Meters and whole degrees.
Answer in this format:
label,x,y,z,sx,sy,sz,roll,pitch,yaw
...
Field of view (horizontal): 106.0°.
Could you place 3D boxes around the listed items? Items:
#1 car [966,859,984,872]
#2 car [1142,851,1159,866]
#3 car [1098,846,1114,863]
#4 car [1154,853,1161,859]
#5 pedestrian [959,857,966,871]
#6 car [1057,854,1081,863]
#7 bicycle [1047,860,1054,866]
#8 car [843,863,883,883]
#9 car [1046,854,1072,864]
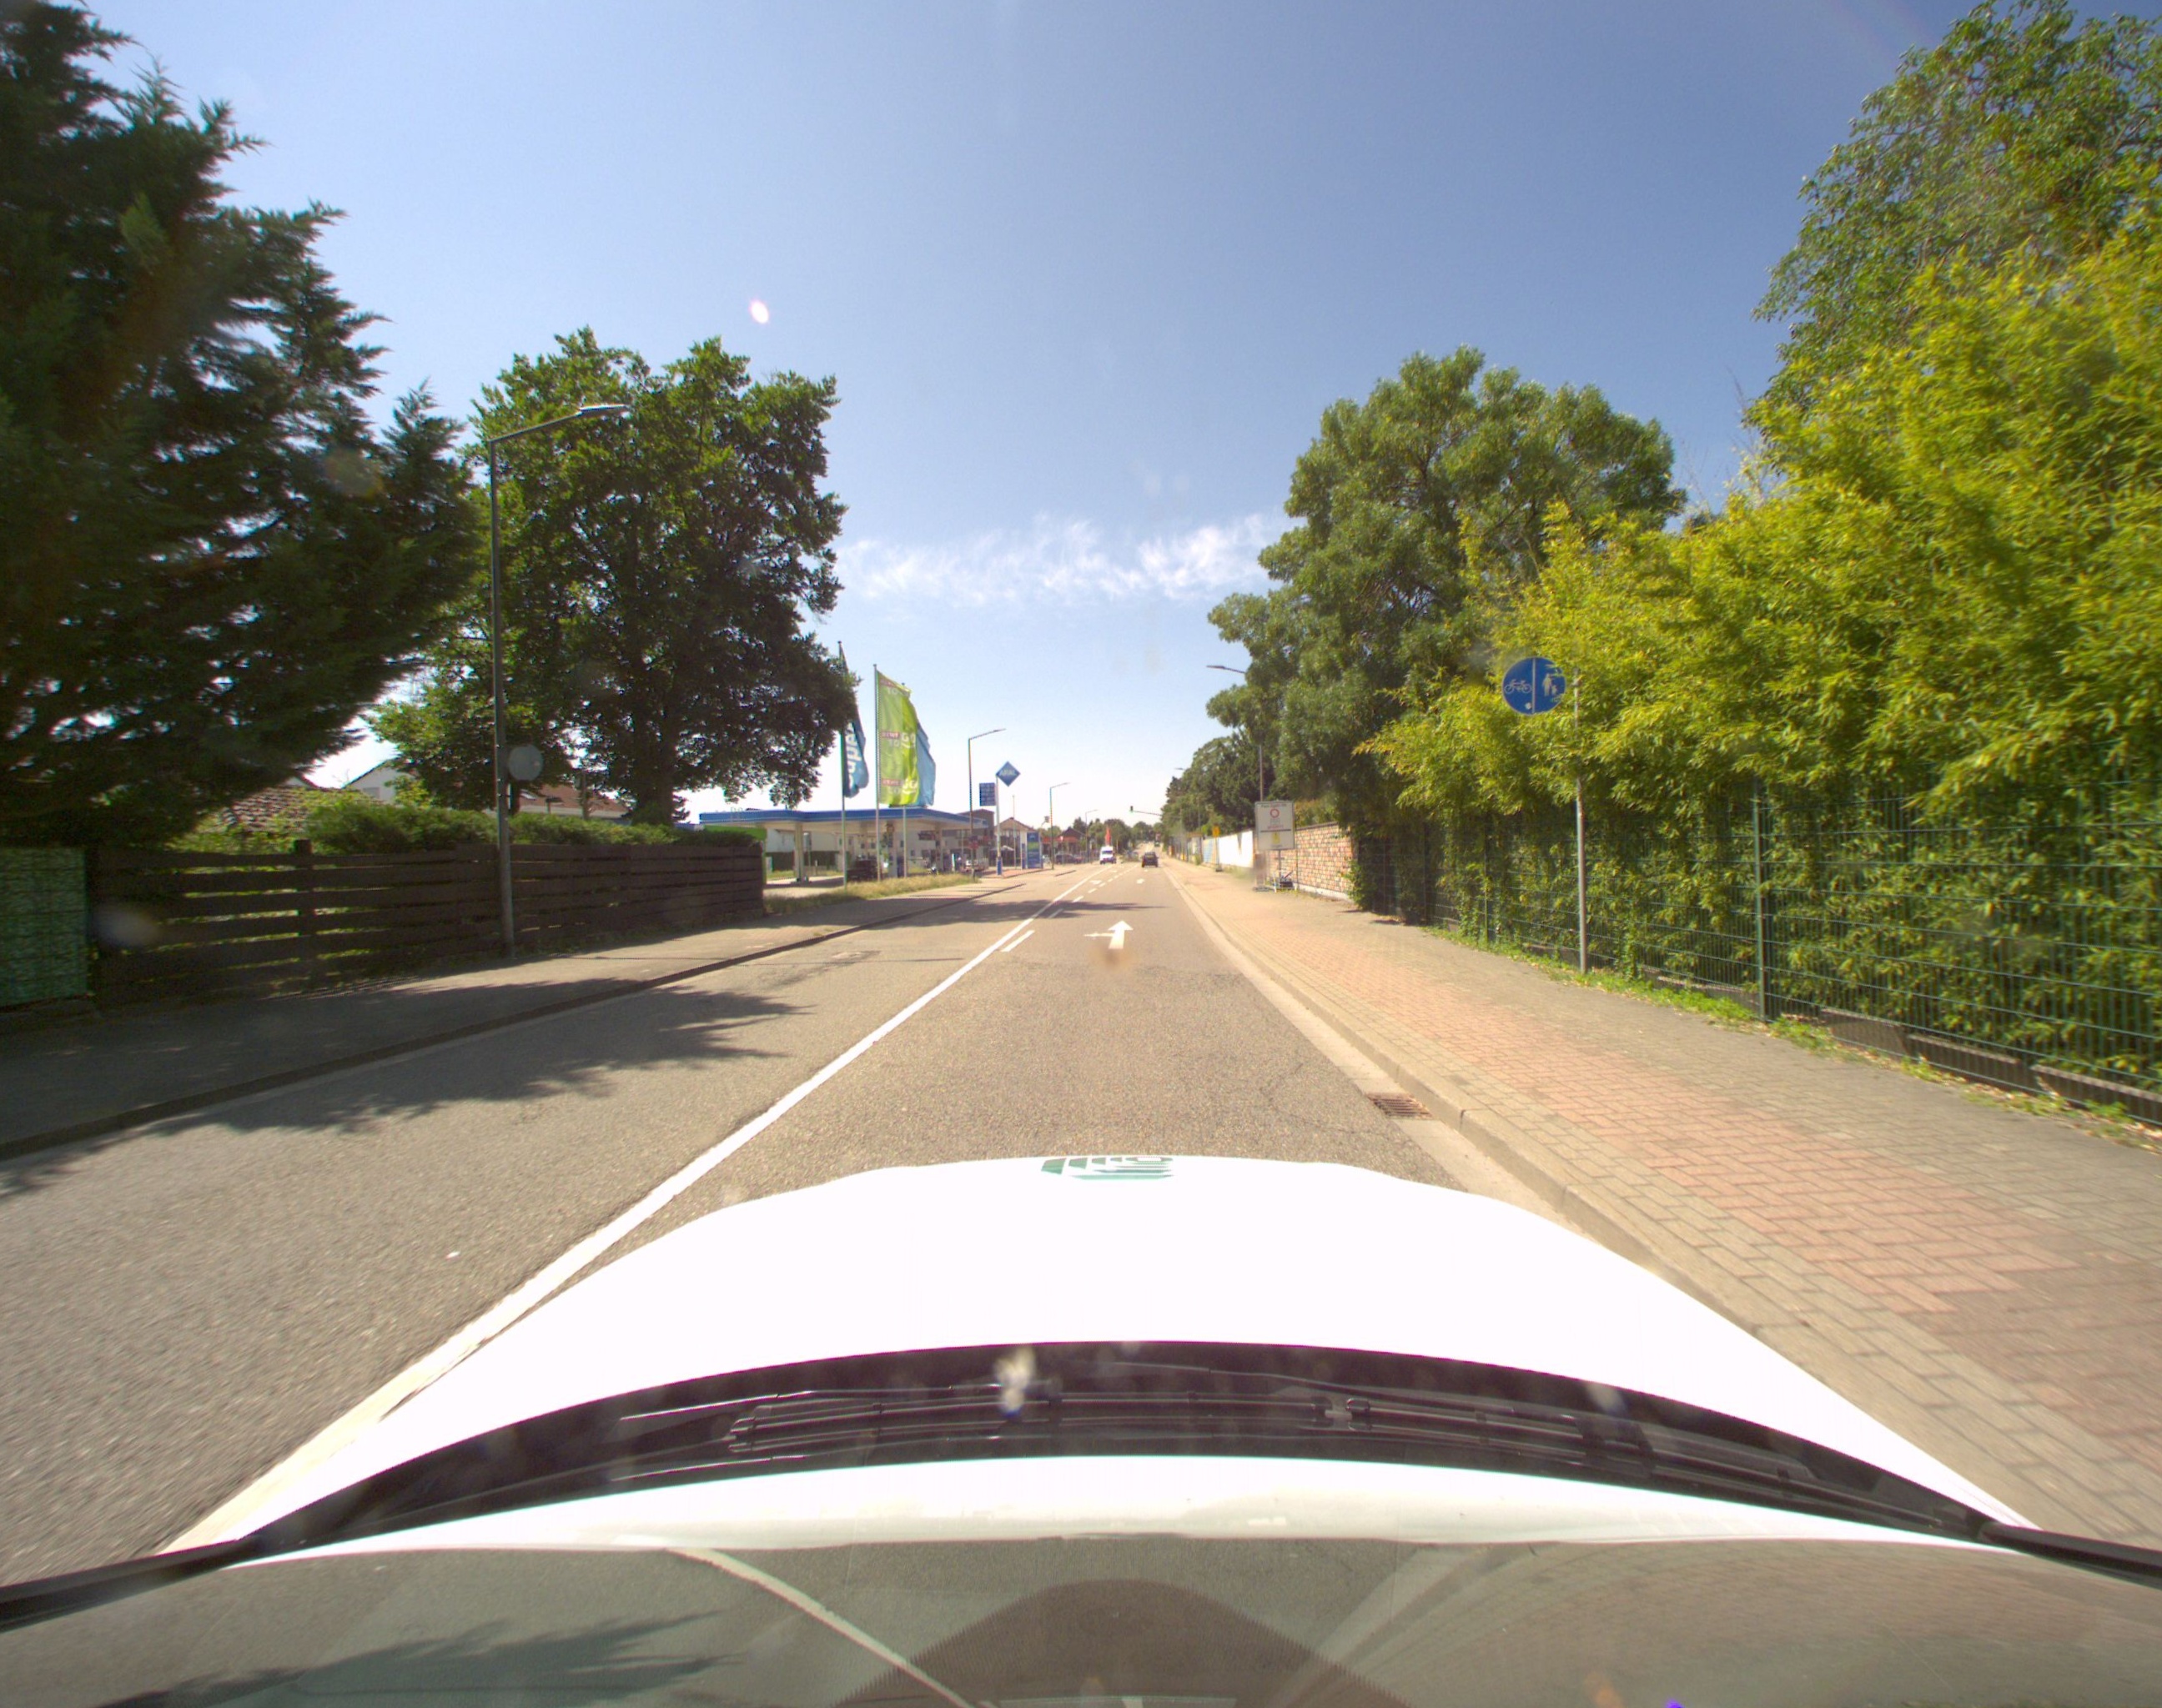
label,x,y,z,sx,sy,sz,roll,pitch,yaw
car,-12.791,1.357,98.359,1.611,1.420,3.712,-3,0,1
car,7.083,0.487,83.479,1.658,1.455,3.477,-1,0,5
car,3.818,0.132,122.530,1.983,2.423,5.957,0,-1,6
car,18.718,0.547,198.183,1.658,1.455,3.477,-1,0,5
pedestrian,-14.414,1.254,99.069,0.613,1.691,0.704,-1,0,-21
car,-2.002,0.746,135.727,3.972,1.508,1.555,-1,0,1
bicycle,-4.479,1.308,119.855,0.610,0.793,2.578,-1,0,5
car,-16.639,1.445,62.333,1.662,1.381,4.005,-1,0,5
car,-3.498,0.790,128.372,3.972,1.508,1.555,-1,0,1
